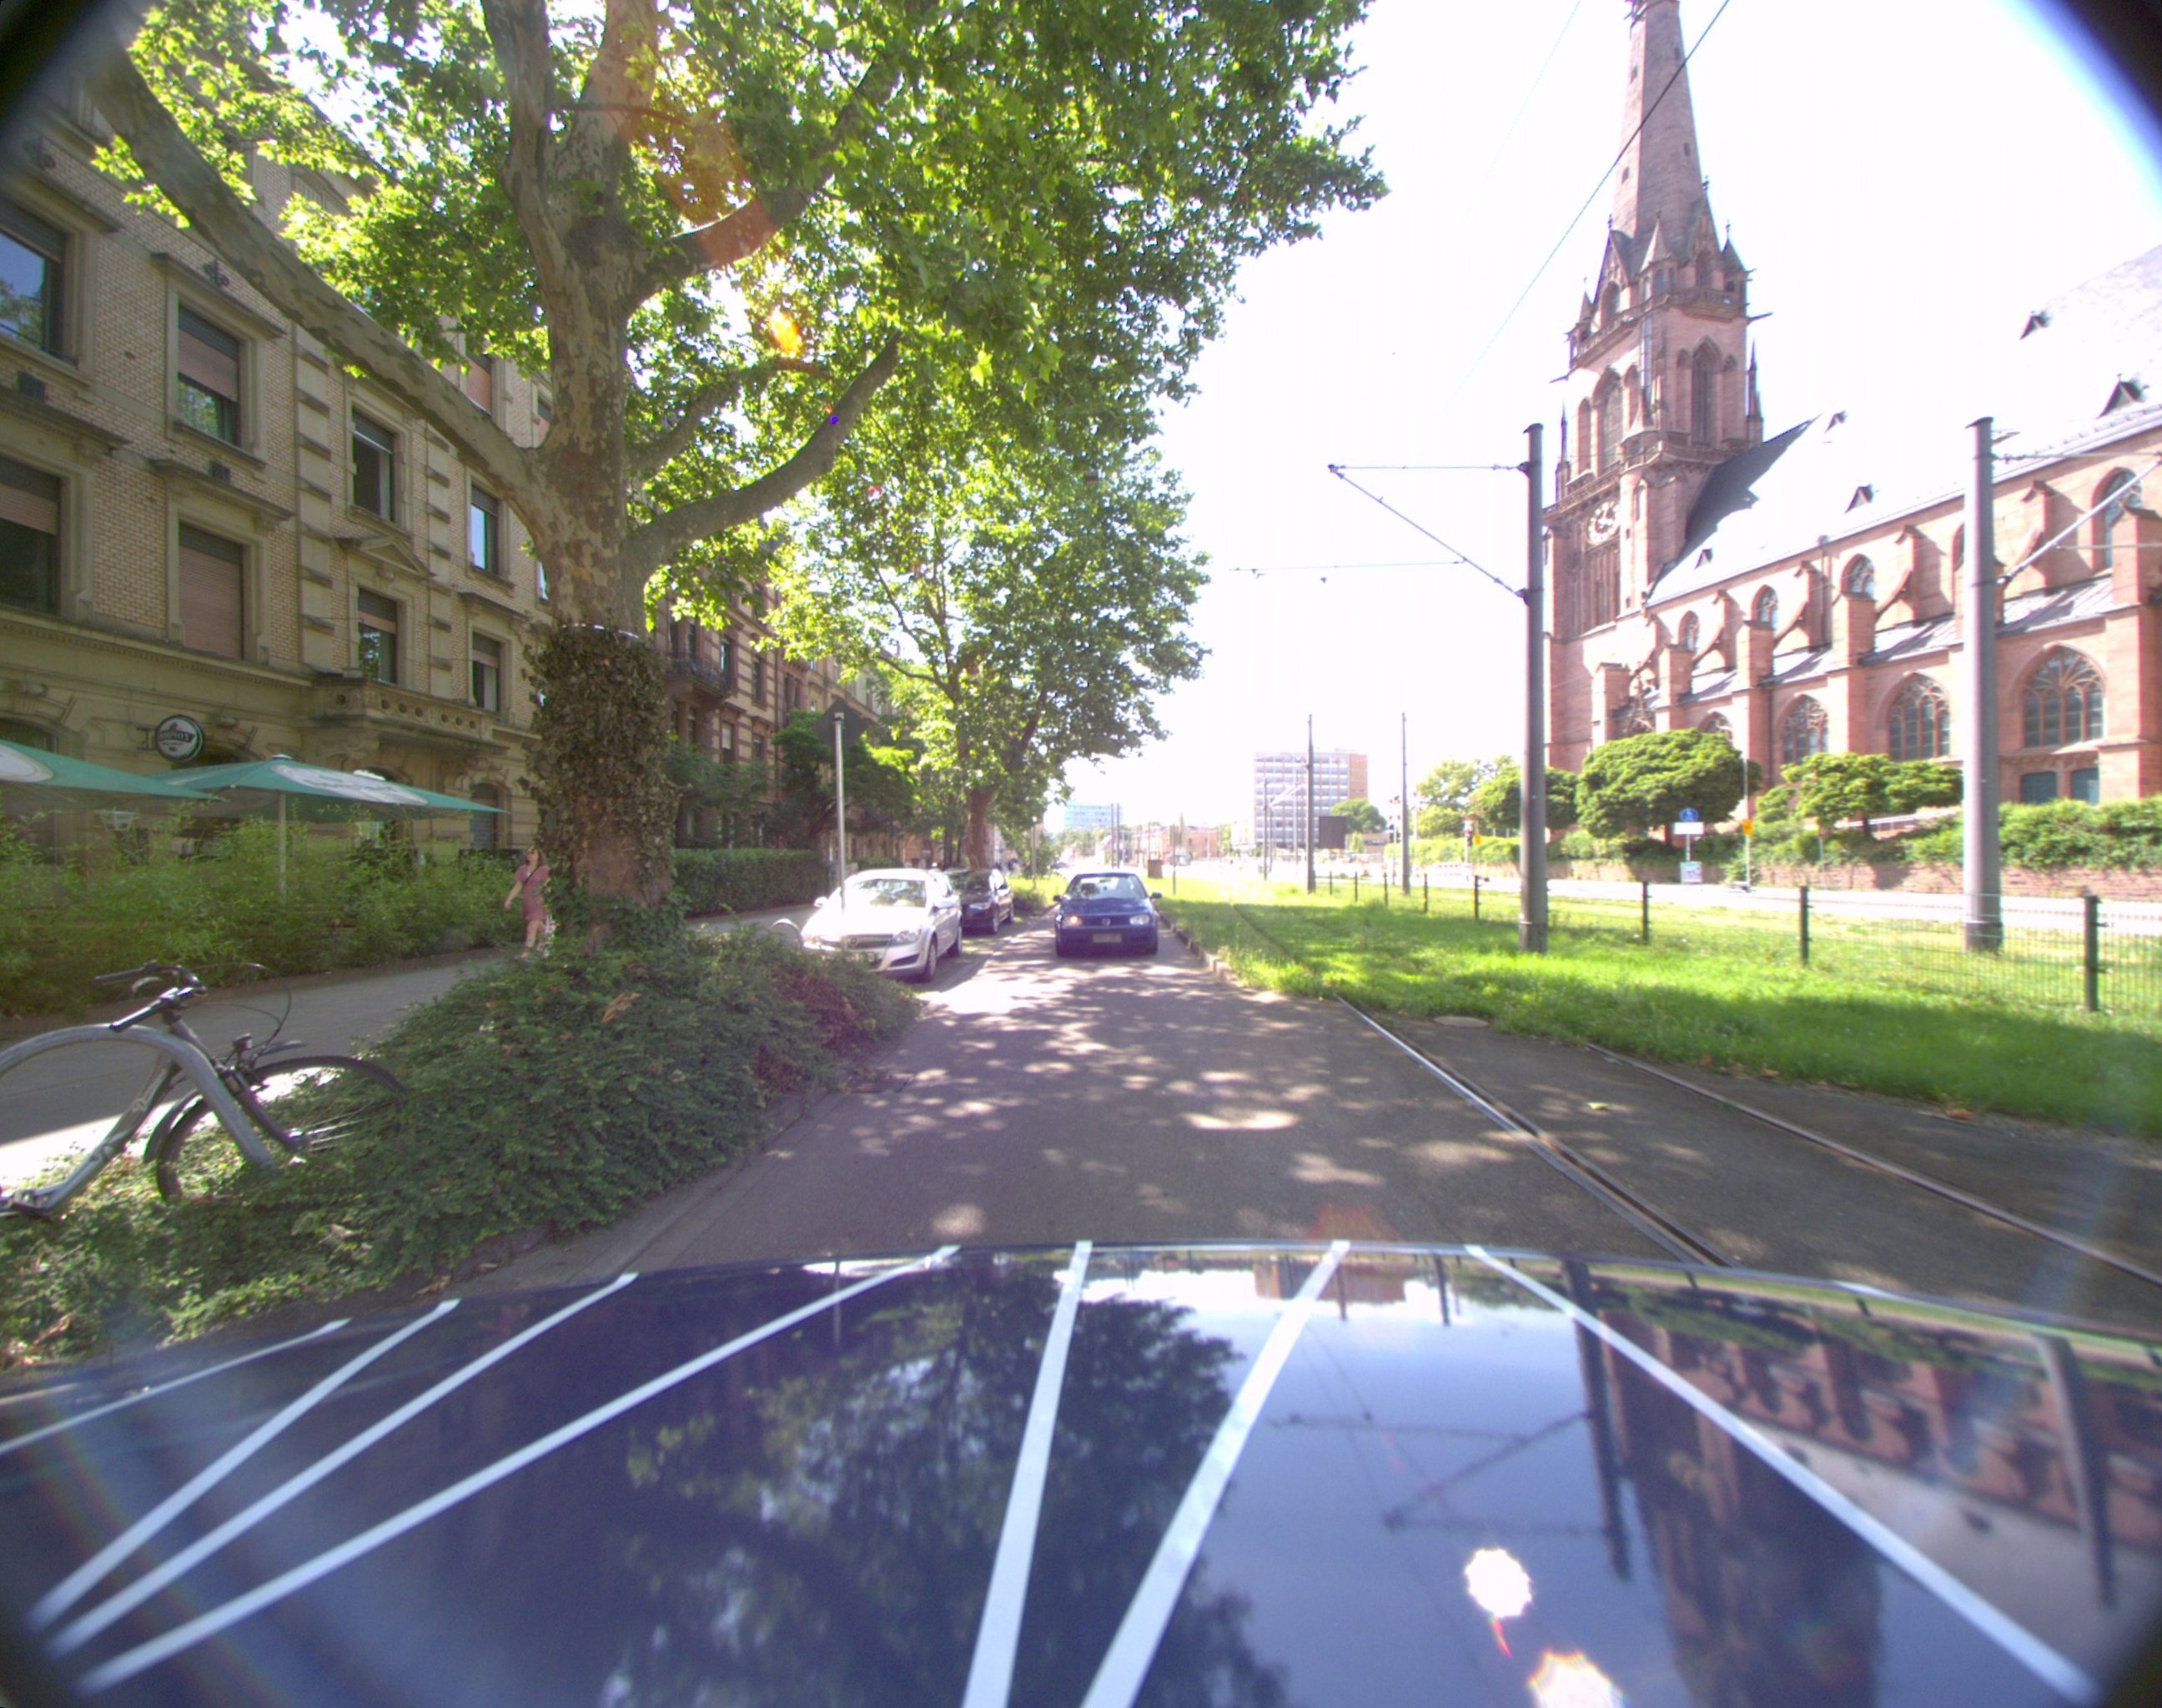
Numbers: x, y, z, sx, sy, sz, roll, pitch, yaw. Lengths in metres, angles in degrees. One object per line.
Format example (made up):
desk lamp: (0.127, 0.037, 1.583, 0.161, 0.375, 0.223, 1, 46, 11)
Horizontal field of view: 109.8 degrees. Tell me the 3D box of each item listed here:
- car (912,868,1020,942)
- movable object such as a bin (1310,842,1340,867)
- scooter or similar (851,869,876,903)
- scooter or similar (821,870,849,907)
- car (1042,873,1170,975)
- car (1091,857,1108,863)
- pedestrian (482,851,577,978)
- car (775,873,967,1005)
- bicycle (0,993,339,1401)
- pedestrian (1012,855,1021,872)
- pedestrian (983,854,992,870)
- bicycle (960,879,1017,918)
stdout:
car: (-2.640, 1.137, 18.570, 1.838, 1.499, 4.644, 0, 0, 1)
movable object such as a bin: (37.617, 0.047, 117.287, 3.341, 3.858, 2.932, 0, 0, -33)
scooter or similar: (-8.292, 1.209, 28.991, 0.583, 1.275, 1.145, 0, 0, 3)
scooter or similar: (-8.490, 1.185, 26.270, 0.583, 1.240, 1.145, 0, 0, 1)
car: (0.382, 1.085, 13.328, 1.886, 1.401, 4.093, -1, 0, 0)
car: (4.868, 1.517, 195.735, 3.959, 1.662, 1.827, -1, 0, -22)
pedestrian: (-8.049, 0.851, 11.127, 0.738, 1.775, 0.852, 1, 0, 0)
car: (-2.873, 1.087, 11.472, 1.838, 1.499, 4.491, 0, 0, -3)
bicycle: (-3.531, 1.136, 2.410, 0.421, 1.099, 1.620, 0, 0, 31)
pedestrian: (-6.655, 1.002, 78.490, 0.797, 1.708, 0.968, -1, 0, 0)
pedestrian: (-9.907, 0.877, 80.452, 0.797, 1.708, 0.968, -1, 0, 0)
bicycle: (-2.738, 1.310, 22.587, 1.641, 1.082, 0.471, 0, 0, -32)
